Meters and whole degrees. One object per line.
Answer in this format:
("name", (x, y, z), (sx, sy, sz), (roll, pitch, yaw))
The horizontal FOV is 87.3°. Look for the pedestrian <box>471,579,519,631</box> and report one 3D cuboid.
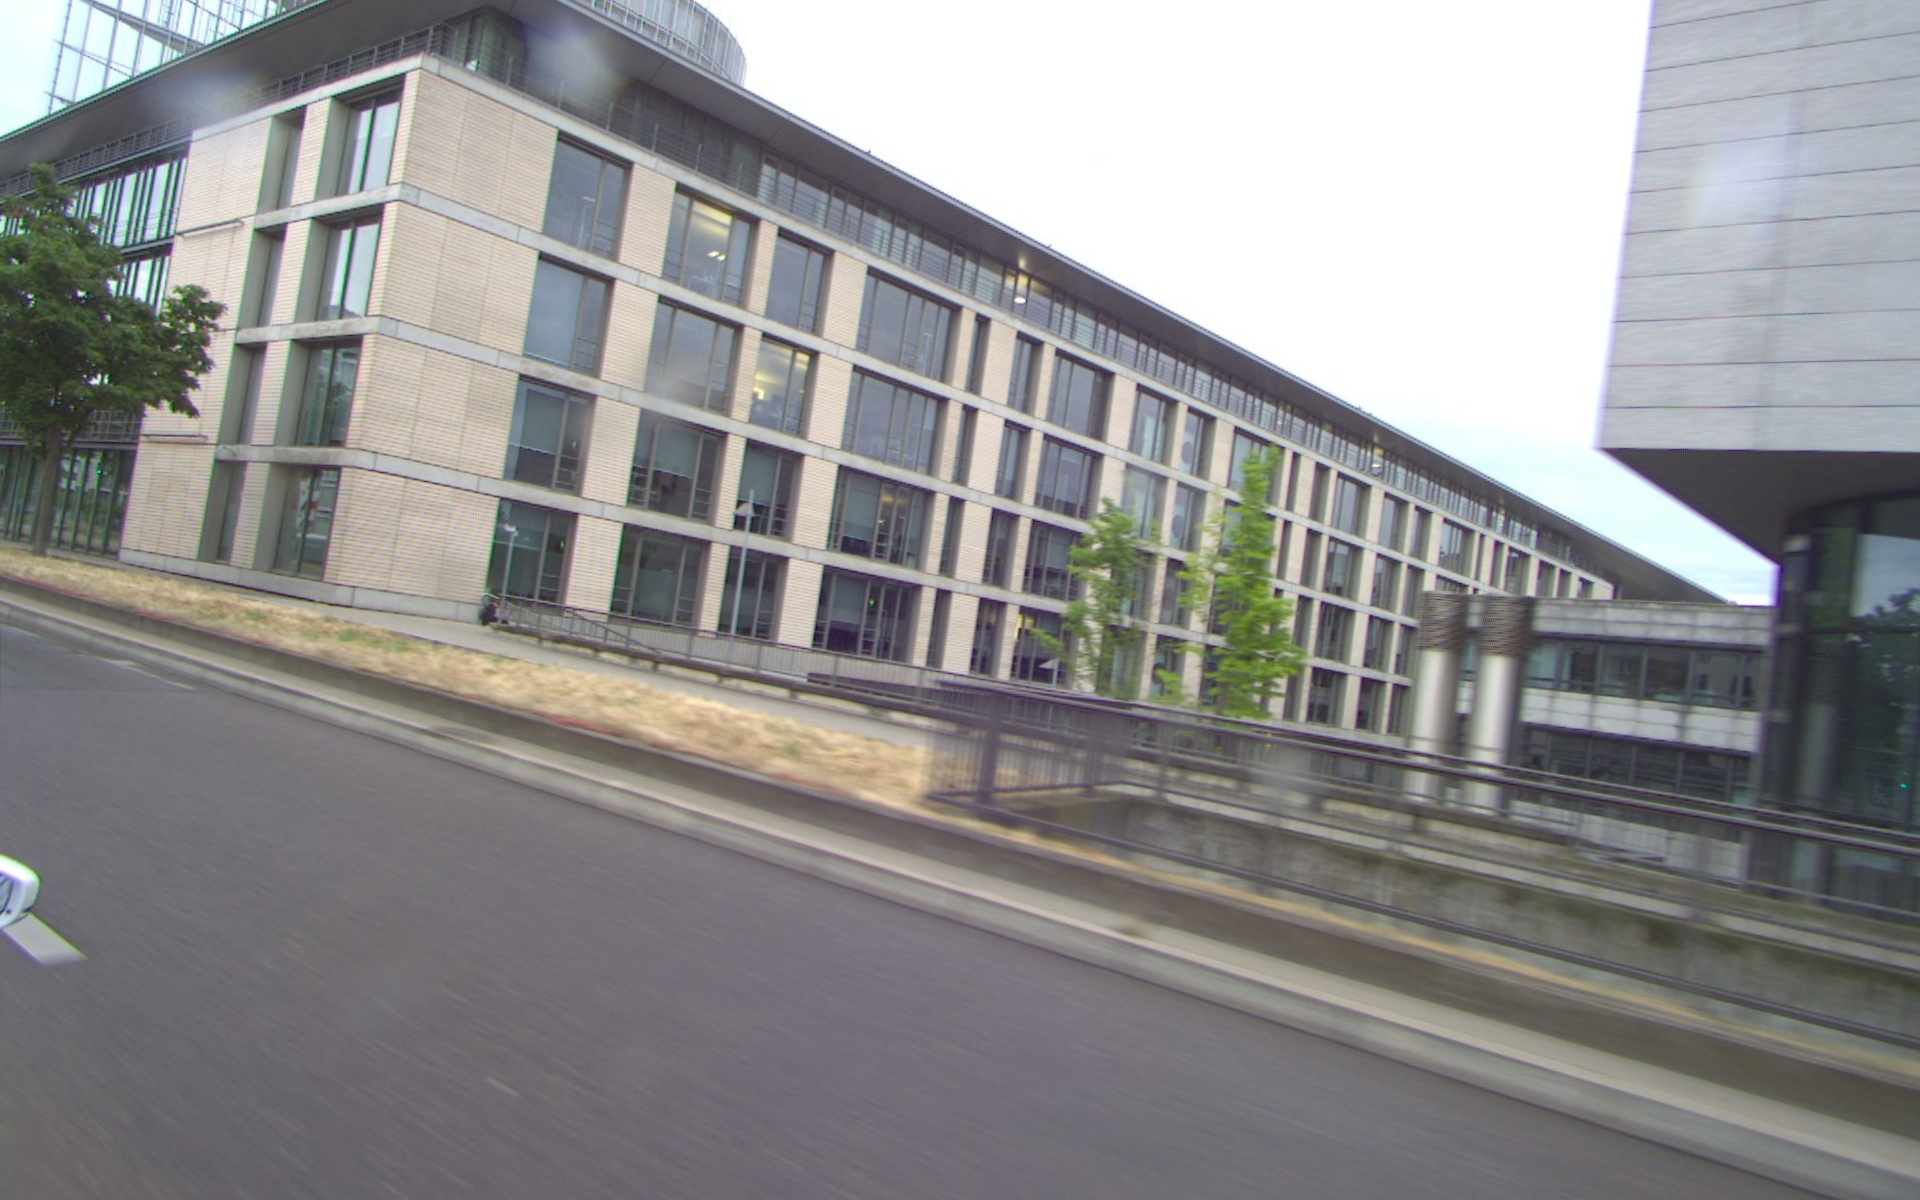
("pedestrian", (-13.547, 0.145, 29.298), (0.872, 1.355, 0.958), (9, -2, -41))
